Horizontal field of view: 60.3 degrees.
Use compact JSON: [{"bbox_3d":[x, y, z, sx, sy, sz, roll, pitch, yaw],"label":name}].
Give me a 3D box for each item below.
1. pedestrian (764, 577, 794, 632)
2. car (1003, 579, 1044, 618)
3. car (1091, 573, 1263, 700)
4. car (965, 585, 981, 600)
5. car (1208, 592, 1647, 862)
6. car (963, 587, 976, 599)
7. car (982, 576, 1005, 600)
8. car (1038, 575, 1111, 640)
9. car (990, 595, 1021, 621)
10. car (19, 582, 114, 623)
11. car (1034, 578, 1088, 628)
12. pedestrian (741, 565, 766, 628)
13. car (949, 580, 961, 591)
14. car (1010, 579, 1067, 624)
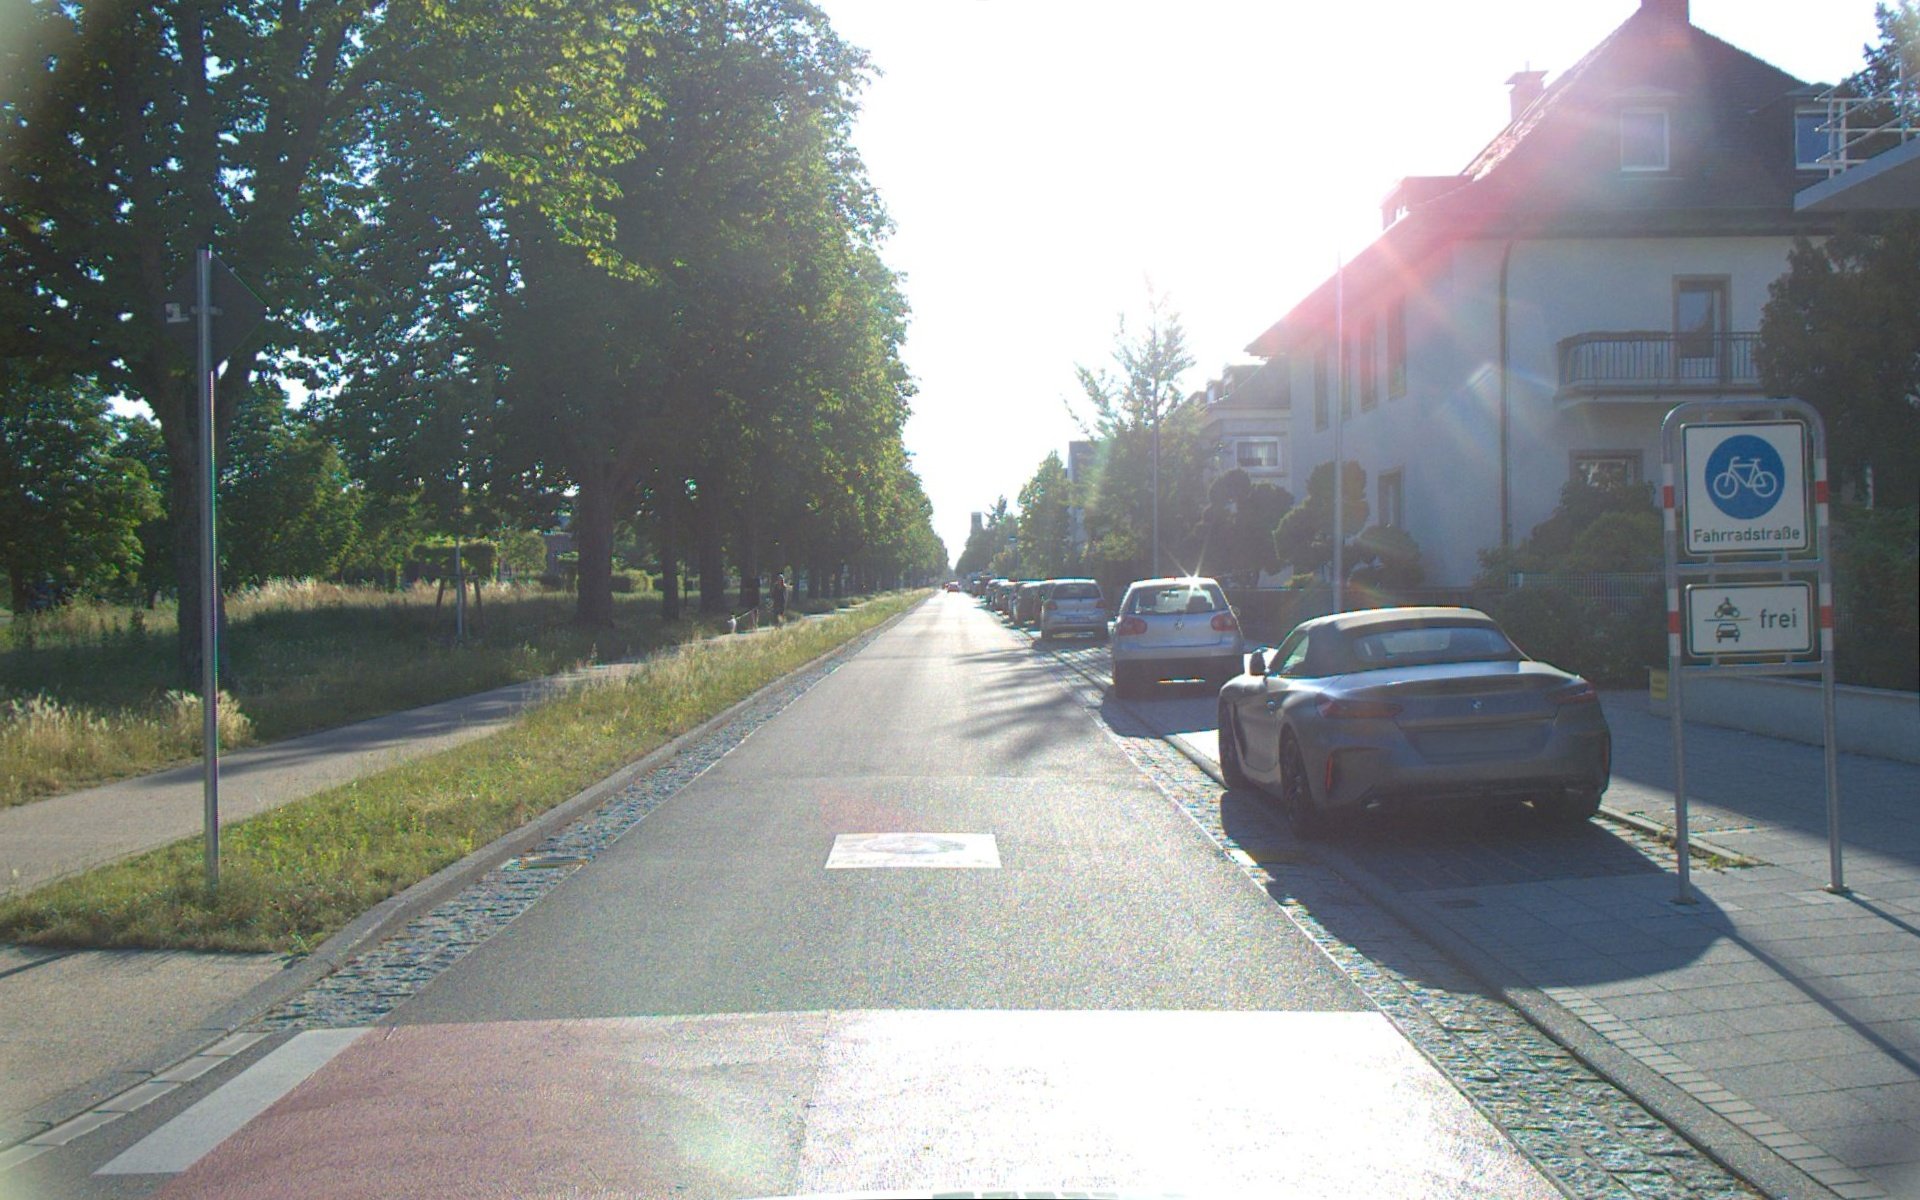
[{"bbox_3d":[-5.465,0.138,49.980,0.767,1.643,0.952,0,0,3],"label":"pedestrian"},{"bbox_3d":[2.611,-0.079,68.788,1.560,1.536,3.592,-1,0,0],"label":"car"},{"bbox_3d":[2.888,0.440,22.795,1.709,1.499,3.921,-3,1,-1],"label":"car"},{"bbox_3d":[1.405,-0.818,172.810,1.618,1.568,3.267,1,0,1],"label":"car"},{"bbox_3d":[2.899,0.691,11.255,1.738,1.310,4.273,-3,1,0],"label":"car"},{"bbox_3d":[1.285,-0.886,216.924,1.618,1.568,3.267,1,0,1],"label":"car"},{"bbox_3d":[2.253,-0.805,110.860,1.467,1.594,3.267,-1,0,1],"label":"car"},{"bbox_3d":[2.908,0.159,42.636,1.594,1.531,3.633,-2,1,0],"label":"car"},{"bbox_3d":[2.506,0.429,91.753,1.618,1.421,3.267,-1,0,1],"label":"car"},{"bbox_3d":[-36.798,0.076,68.208,1.658,1.625,4.220,0,1,-1],"label":"car"},{"bbox_3d":[3.269,0.087,53.627,1.623,1.520,3.717,-2,0,3],"label":"car"},{"bbox_3d":[-6.233,-0.107,49.948,0.611,1.863,0.886,0,0,3],"label":"pedestrian"},{"bbox_3d":[-0.730,-2.131,241.195,1.618,1.568,3.266,1,0,0],"label":"car"},{"bbox_3d":[2.764,0.066,58.914,1.701,1.474,4.196,-2,0,-1],"label":"car"}]
